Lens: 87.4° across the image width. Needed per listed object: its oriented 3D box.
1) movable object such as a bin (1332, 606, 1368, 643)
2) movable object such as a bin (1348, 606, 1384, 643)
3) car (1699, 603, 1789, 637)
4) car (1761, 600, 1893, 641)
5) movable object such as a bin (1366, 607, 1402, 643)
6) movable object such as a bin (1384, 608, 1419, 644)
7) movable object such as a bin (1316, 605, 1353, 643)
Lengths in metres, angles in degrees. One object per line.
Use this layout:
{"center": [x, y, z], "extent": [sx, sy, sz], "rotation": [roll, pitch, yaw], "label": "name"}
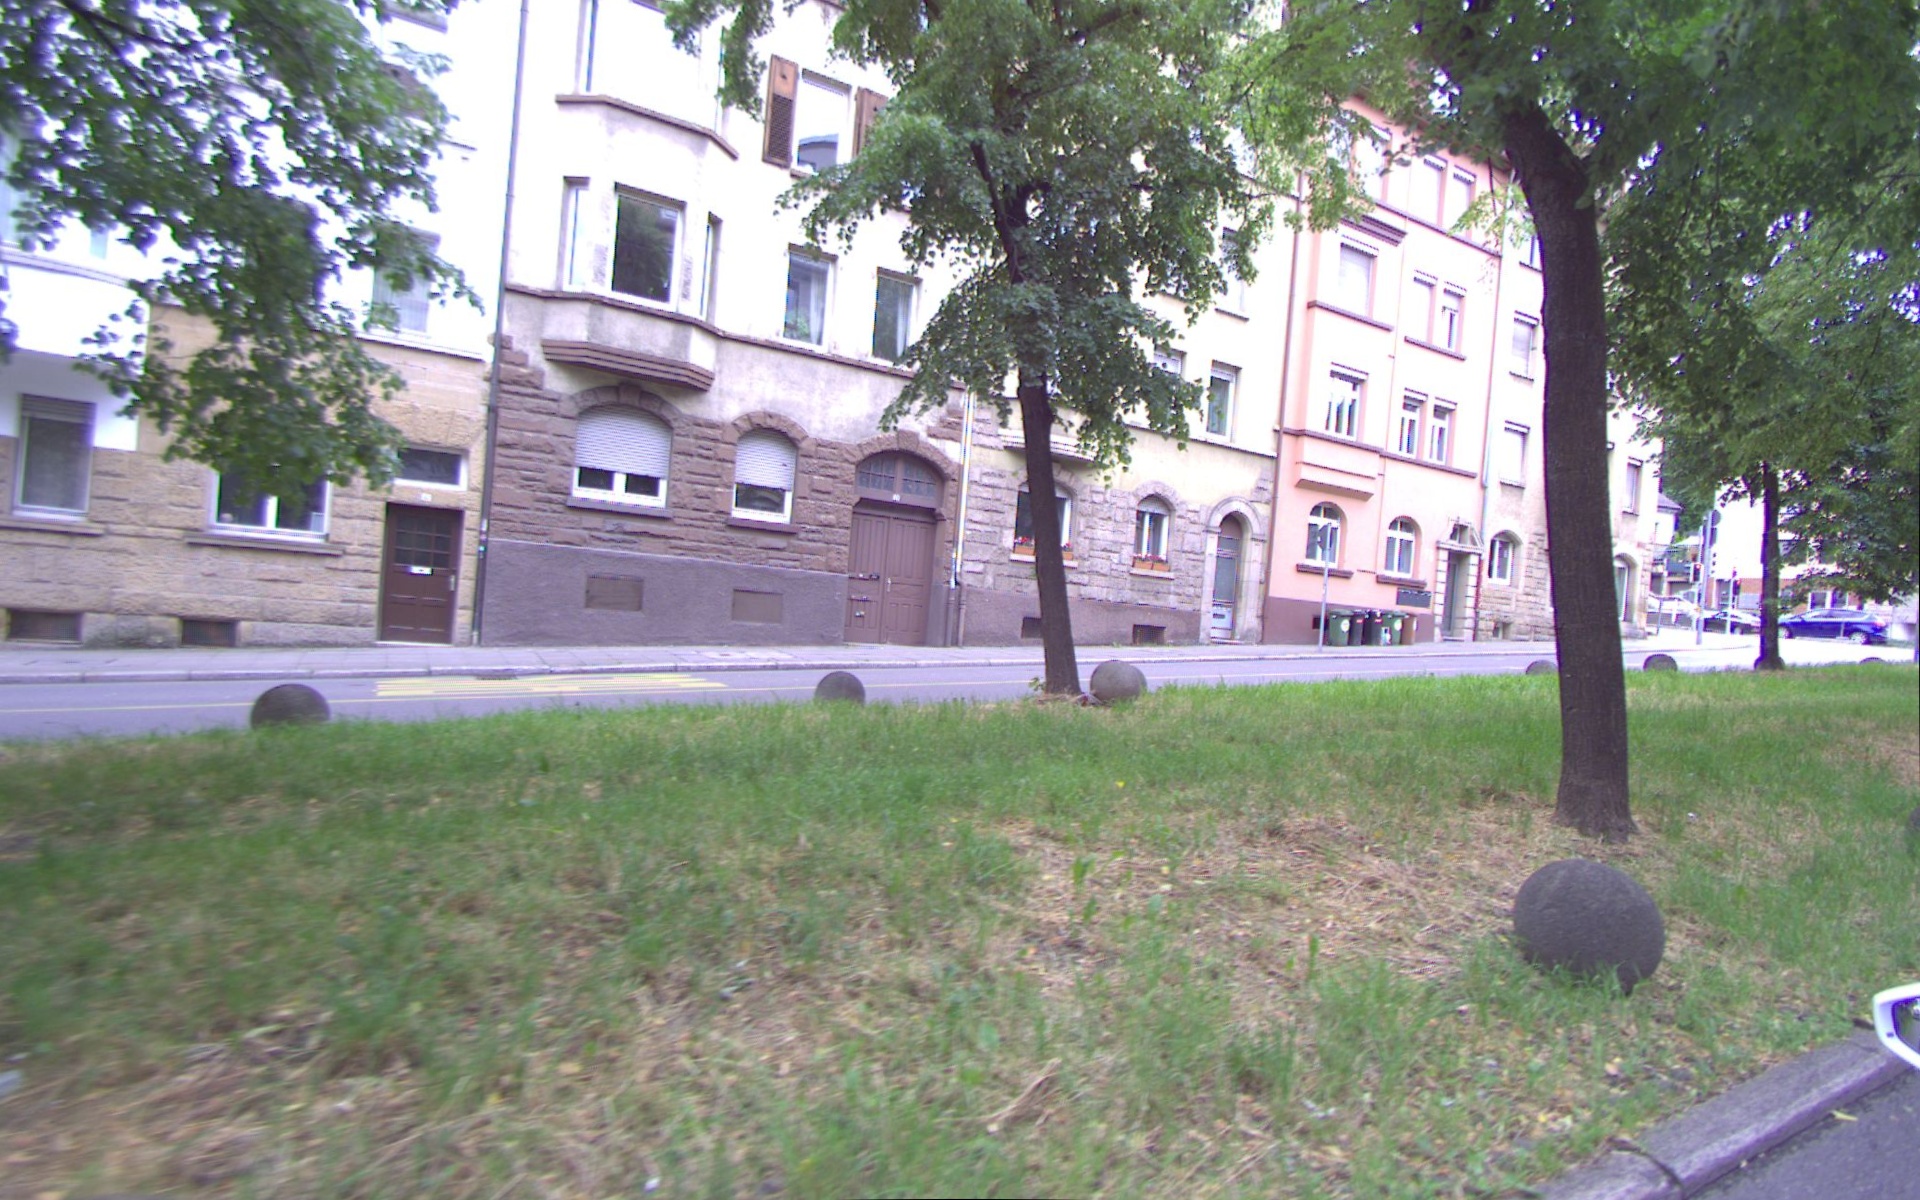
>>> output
{"center": [10.128, 0.640, 26.078], "extent": [0.595, 0.916, 0.605], "rotation": [1, 3, -34], "label": "movable object such as a bin"}
{"center": [10.676, 0.648, 26.387], "extent": [0.595, 0.916, 0.605], "rotation": [1, 3, -34], "label": "movable object such as a bin"}
{"center": [42.611, 1.041, 54.693], "extent": [1.845, 1.687, 4.001], "rotation": [3, 0, 4], "label": "car"}
{"center": [38.596, 0.865, 44.804], "extent": [1.784, 1.530, 4.172], "rotation": [1, 2, -38], "label": "car"}
{"center": [11.339, 0.669, 26.852], "extent": [0.595, 0.916, 0.605], "rotation": [1, 3, -34], "label": "movable object such as a bin"}
{"center": [11.933, 0.692, 27.171], "extent": [0.595, 0.916, 0.605], "rotation": [1, 3, -34], "label": "movable object such as a bin"}
{"center": [9.598, 0.621, 25.728], "extent": [0.595, 0.916, 0.605], "rotation": [1, 3, -34], "label": "movable object such as a bin"}
